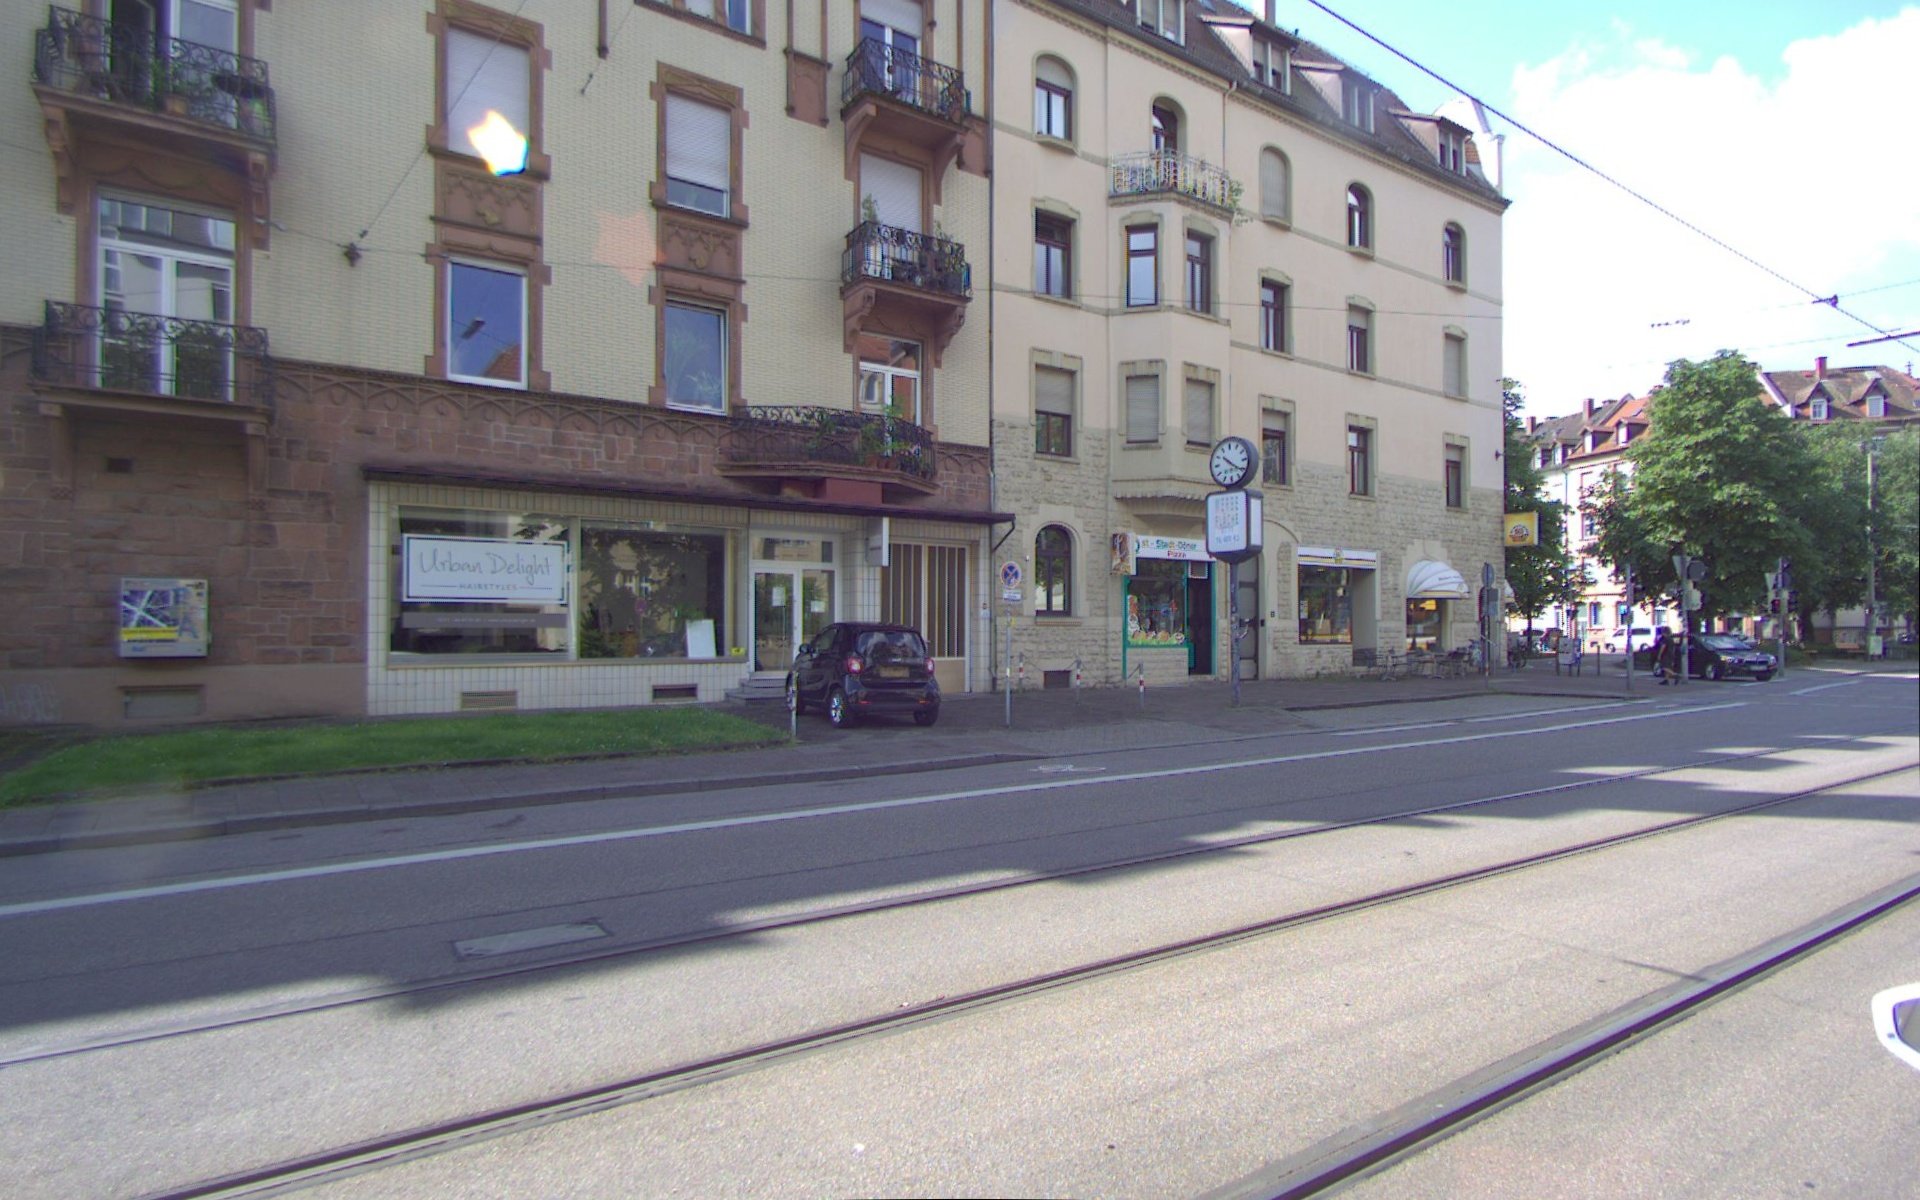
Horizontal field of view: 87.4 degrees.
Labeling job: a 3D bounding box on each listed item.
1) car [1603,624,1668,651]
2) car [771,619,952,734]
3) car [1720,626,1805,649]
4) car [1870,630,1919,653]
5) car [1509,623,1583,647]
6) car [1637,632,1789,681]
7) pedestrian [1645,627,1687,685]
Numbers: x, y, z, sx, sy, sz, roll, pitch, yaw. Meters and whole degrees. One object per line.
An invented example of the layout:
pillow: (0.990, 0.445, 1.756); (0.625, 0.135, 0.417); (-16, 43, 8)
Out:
car: (50.356, 2.798, 74.948); (1.962, 1.929, 3.997); (0, -2, -5)
car: (-1.655, 1.122, 16.057); (1.716, 1.505, 3.163); (1, 1, -30)
car: (50.548, 2.353, 63.330); (3.919, 1.378, 1.679); (0, -1, 4)
car: (58.526, 2.551, 61.469); (3.929, 1.378, 1.675); (-1, -2, 30)
car: (40.206, 2.387, 68.991); (1.976, 1.617, 3.970); (1, -2, -29)
car: (25.041, 1.837, 33.615); (1.729, 1.538, 4.064); (0, -2, -7)
pedestrian: (20.939, 1.649, 29.806); (0.690, 1.706, 0.750); (1, -1, -21)
